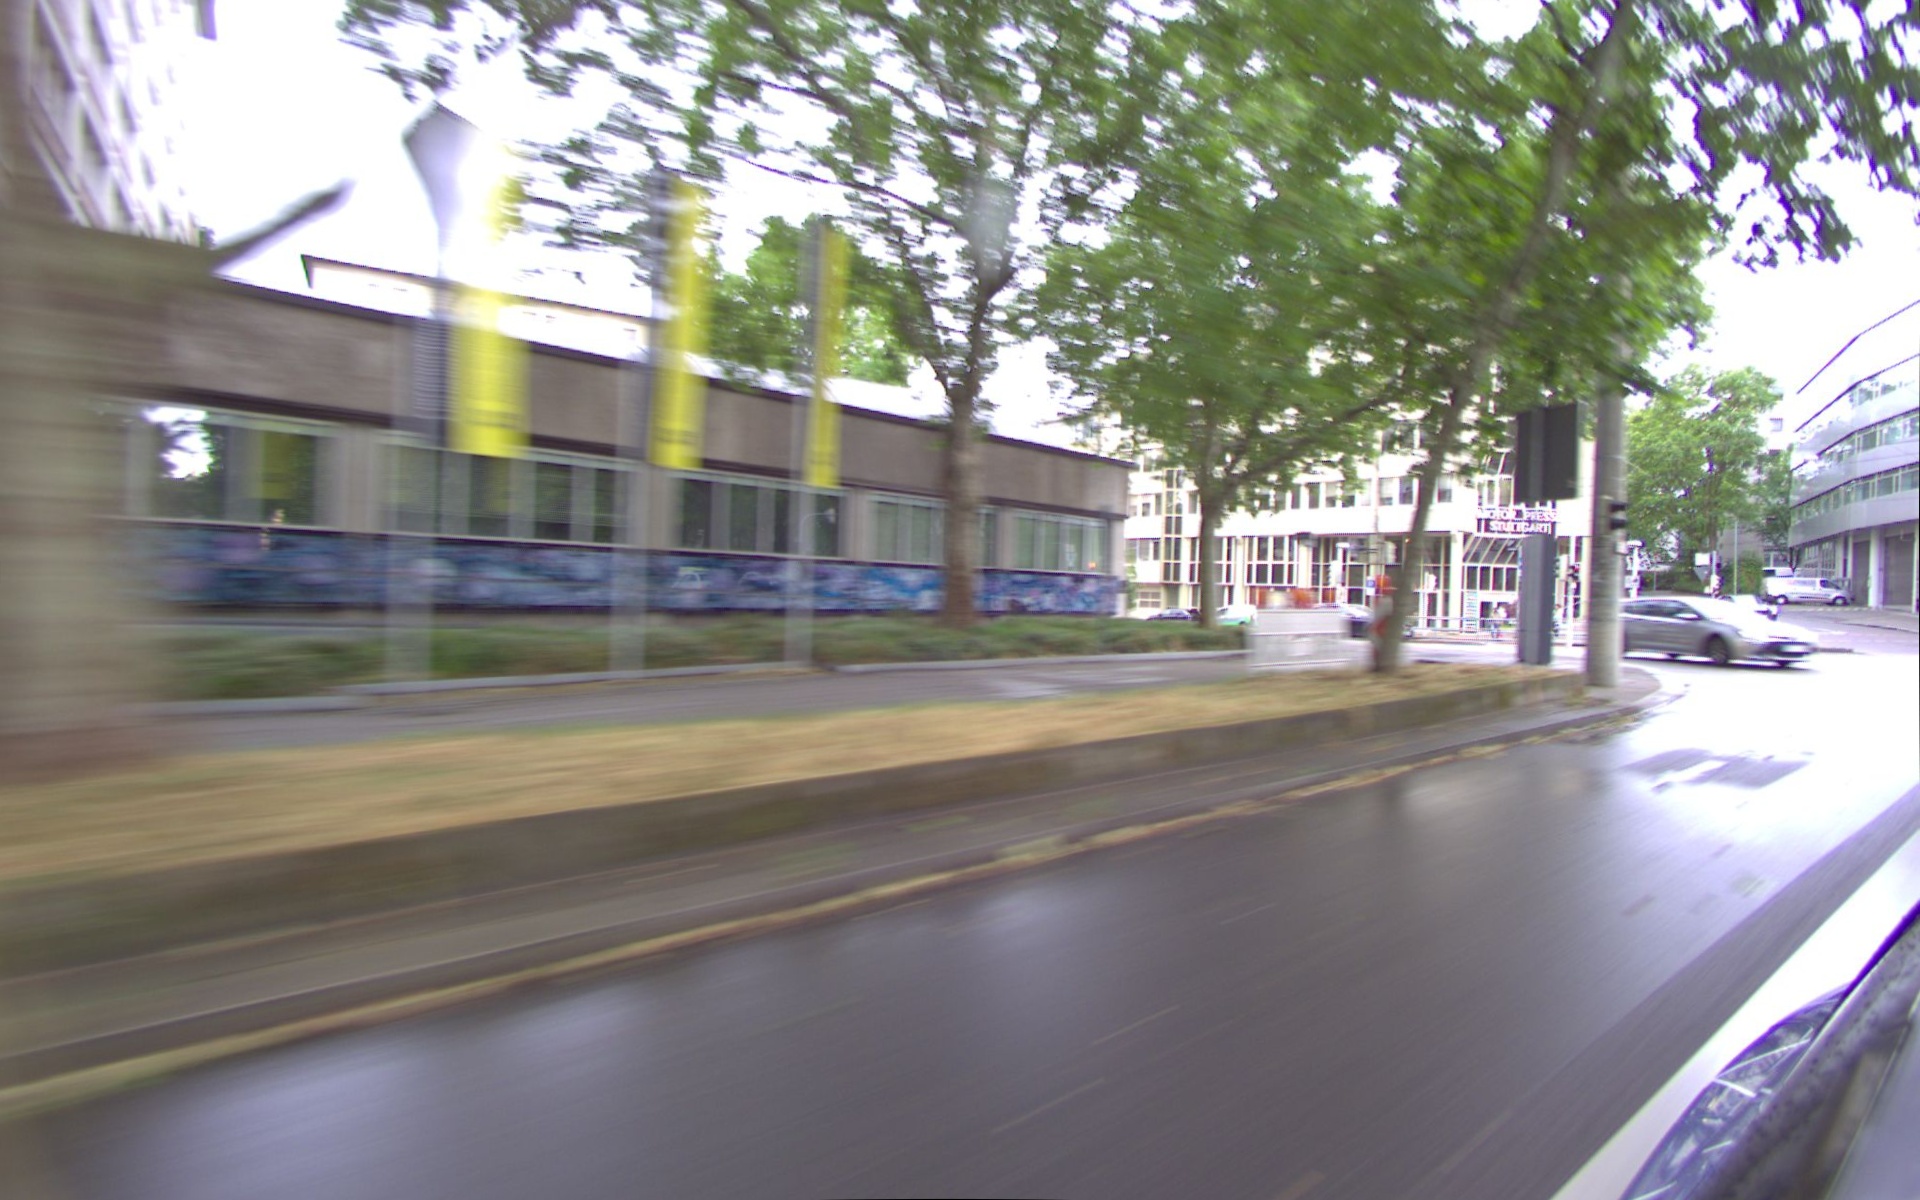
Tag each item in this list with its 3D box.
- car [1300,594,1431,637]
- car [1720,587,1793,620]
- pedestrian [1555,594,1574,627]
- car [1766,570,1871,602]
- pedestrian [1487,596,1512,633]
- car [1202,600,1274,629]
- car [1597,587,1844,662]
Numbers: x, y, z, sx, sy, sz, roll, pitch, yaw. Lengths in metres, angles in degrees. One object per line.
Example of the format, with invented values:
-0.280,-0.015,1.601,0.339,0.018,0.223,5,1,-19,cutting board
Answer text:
15.384,0.566,38.626,1.765,1.461,4.479,3,-2,-30,car
45.672,0.150,58.146,1.977,1.599,4.853,0,3,22,car
30.496,0.528,51.042,0.712,1.659,0.754,1,0,25,pedestrian
60.854,-1.019,71.880,5.370,2.039,1.977,2,-2,31,car
27.234,0.720,51.088,0.744,1.809,0.833,0,0,-25,pedestrian
17.726,0.894,64.620,1.769,1.768,4.213,0,0,-38,car
16.444,0.510,22.218,1.775,1.453,4.303,1,-1,-9,car
